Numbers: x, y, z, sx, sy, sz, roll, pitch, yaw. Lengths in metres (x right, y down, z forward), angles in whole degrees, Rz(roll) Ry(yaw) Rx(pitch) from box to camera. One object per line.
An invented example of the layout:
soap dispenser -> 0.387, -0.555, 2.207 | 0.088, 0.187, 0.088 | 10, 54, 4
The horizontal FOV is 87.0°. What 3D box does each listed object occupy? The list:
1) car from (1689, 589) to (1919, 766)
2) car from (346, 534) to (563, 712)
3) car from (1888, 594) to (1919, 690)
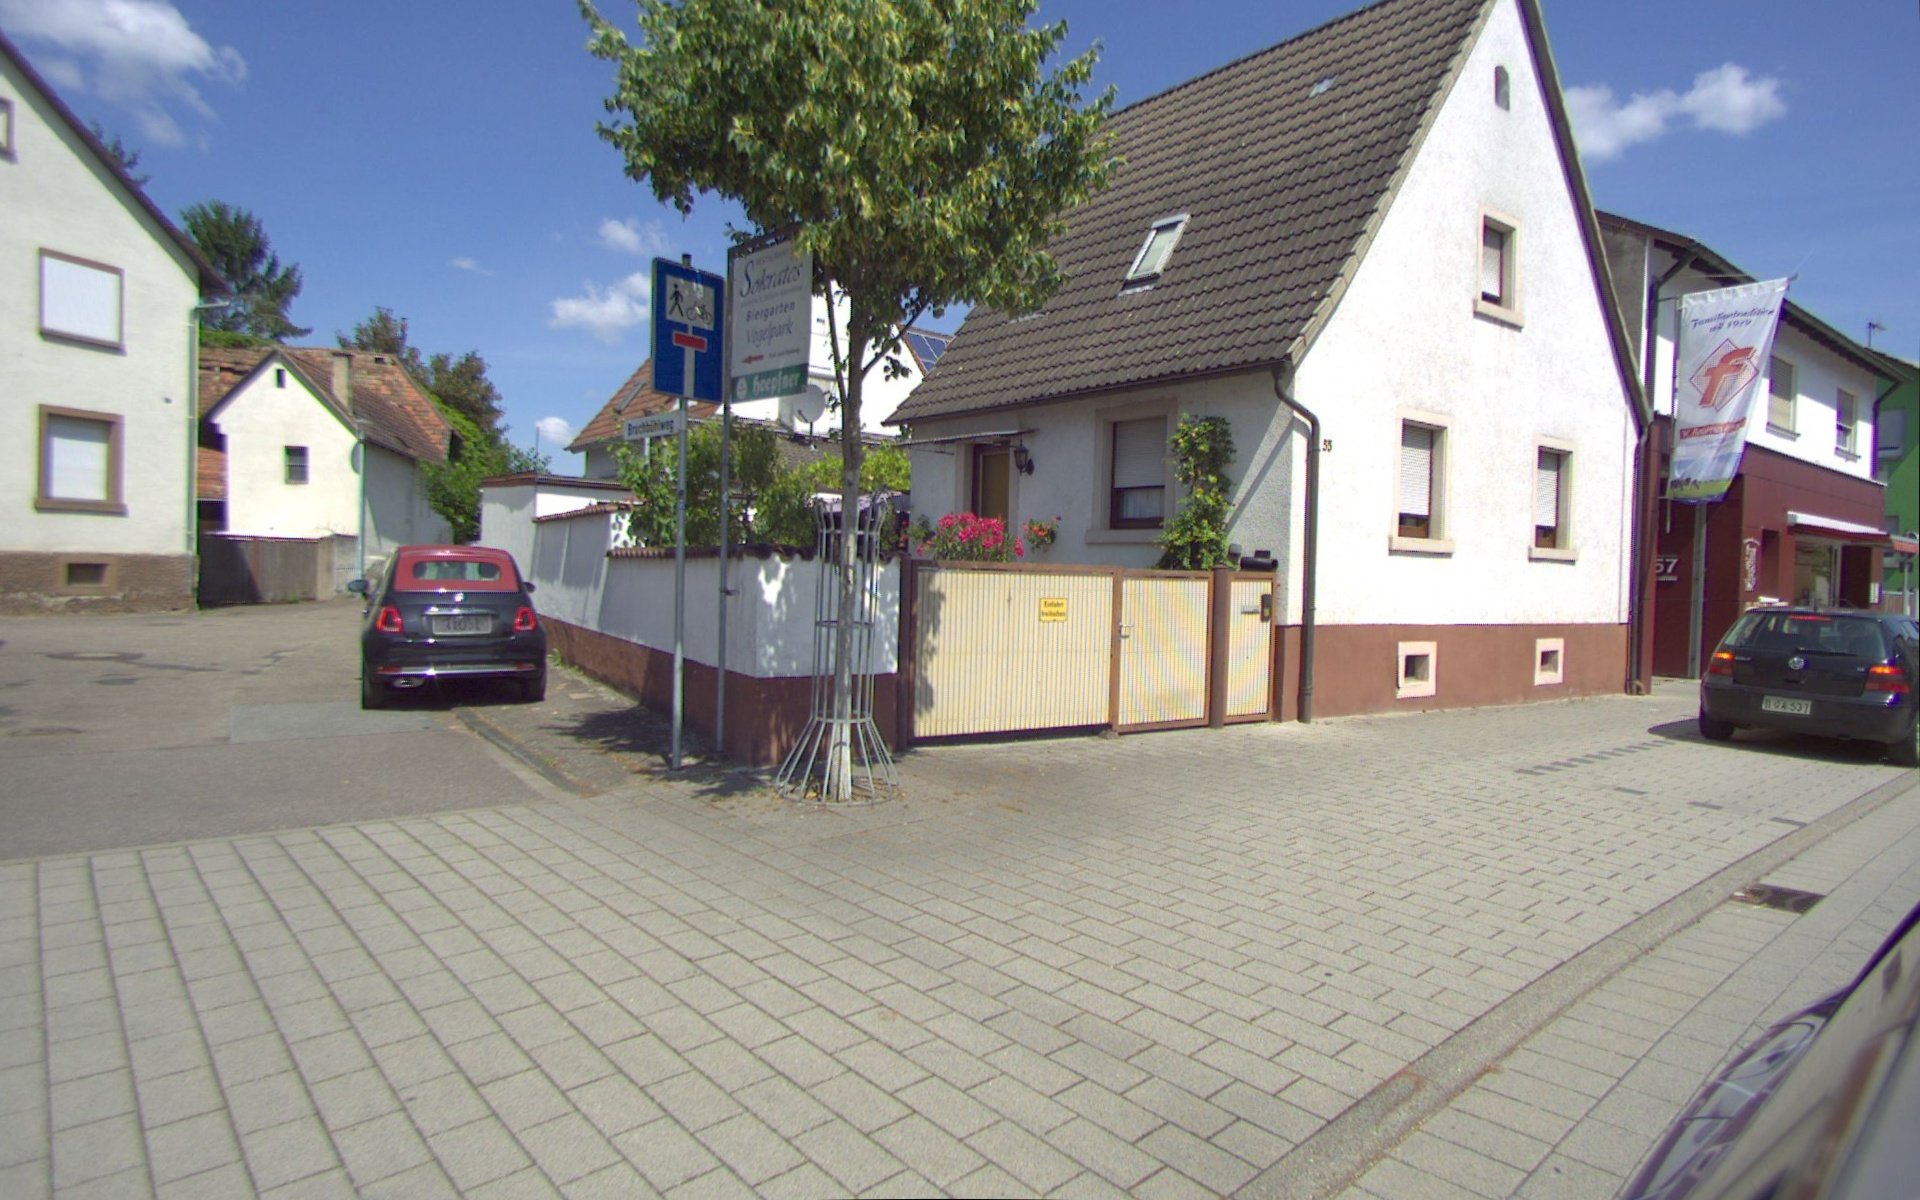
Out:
car -> 9.475, 0.675, 10.666 | 4.043, 1.456, 1.765 | 0, 3, -37
car -> -5.510, 0.109, 10.779 | 1.646, 1.538, 3.818 | 0, 2, -33
car -> 17.218, 0.727, 16.670 | 4.499, 1.476, 1.865 | 0, 4, -35
